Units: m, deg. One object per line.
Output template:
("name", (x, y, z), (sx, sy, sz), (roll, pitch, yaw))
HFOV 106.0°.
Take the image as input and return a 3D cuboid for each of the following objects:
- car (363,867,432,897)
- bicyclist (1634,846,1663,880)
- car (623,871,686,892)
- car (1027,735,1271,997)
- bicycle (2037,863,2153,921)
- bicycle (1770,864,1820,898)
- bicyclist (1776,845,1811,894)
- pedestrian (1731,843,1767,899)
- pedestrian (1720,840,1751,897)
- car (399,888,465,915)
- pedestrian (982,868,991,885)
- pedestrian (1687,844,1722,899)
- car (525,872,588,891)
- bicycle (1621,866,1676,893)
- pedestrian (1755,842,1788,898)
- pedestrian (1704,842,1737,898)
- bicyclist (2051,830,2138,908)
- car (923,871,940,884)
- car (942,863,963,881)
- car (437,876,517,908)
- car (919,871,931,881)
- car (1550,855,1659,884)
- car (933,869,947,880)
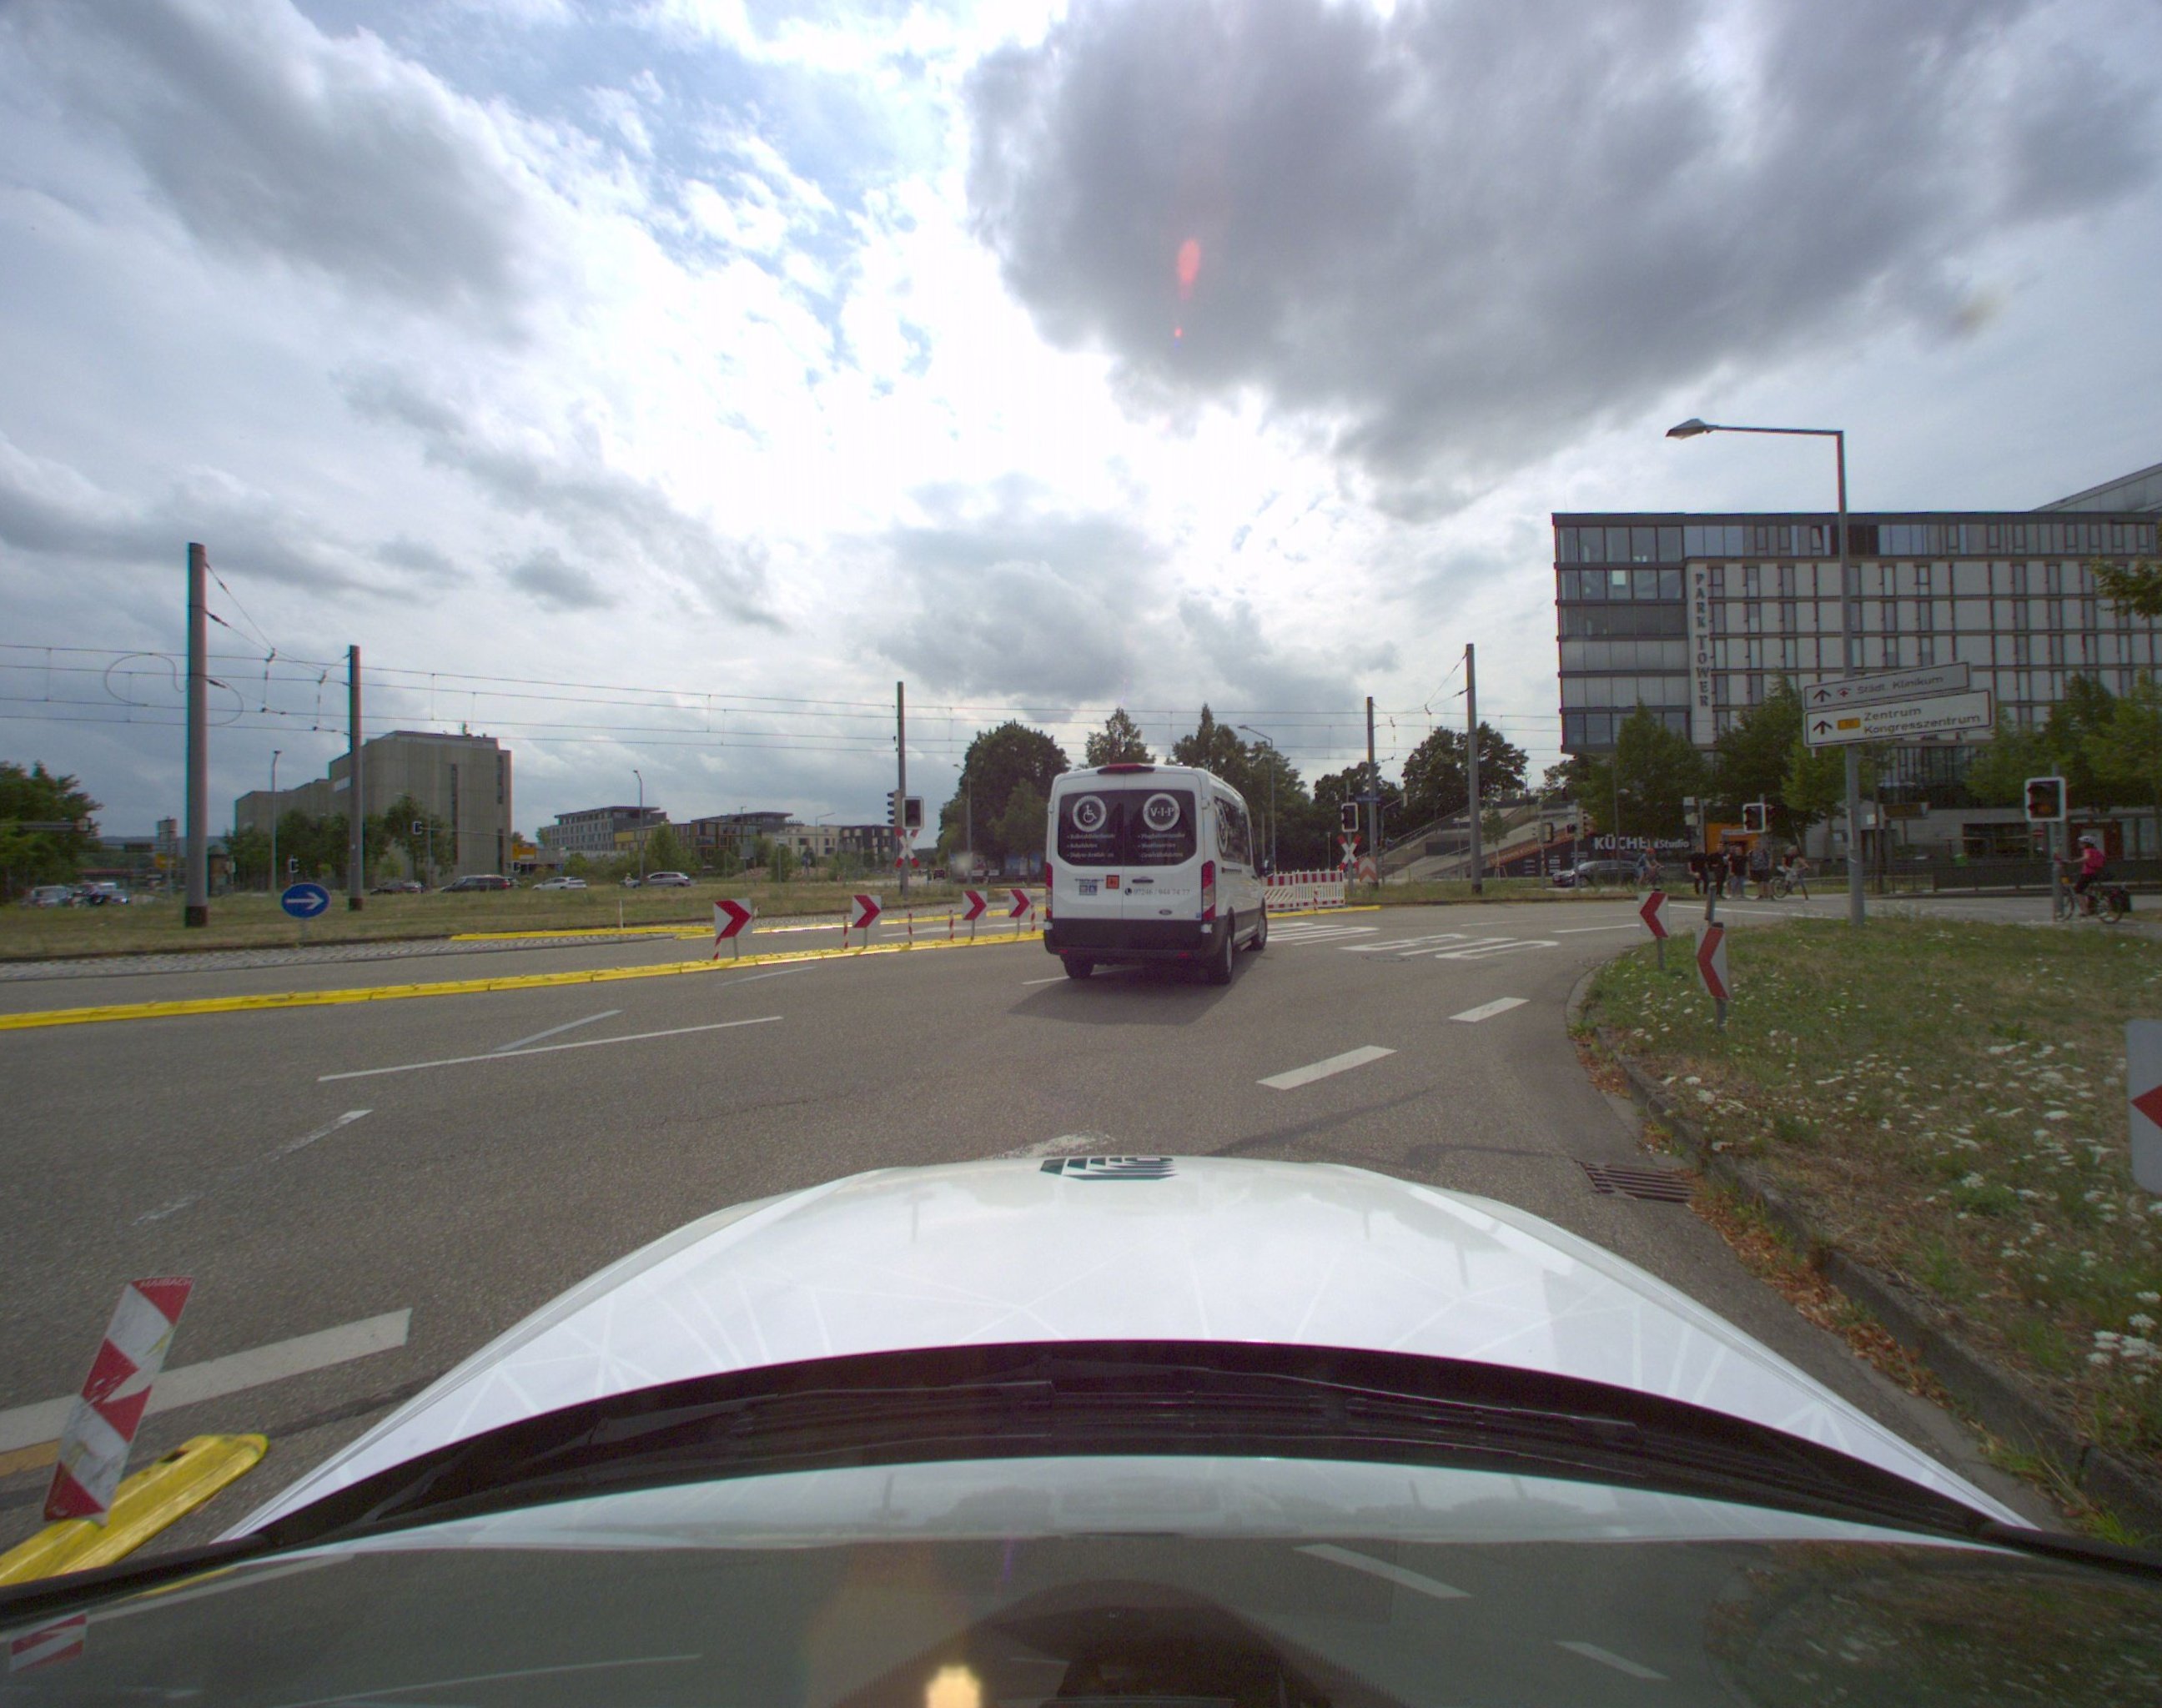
("car", (-48.049, 1.960, 57.254), (3.952, 2.014, 2.010), (-2, -2, 22))
("bicyclist", (22.525, 0.364, 32.331), (0.640, 1.317, 0.671), (-1, -1, -18))
("car", (-31.938, 2.063, 61.024), (4.016, 1.464, 1.813), (0, -2, -35))
("car", (1.302, 0.169, 11.369), (2.109, 2.698, 5.657), (-2, -1, 18))
("bicycle", (22.090, 0.805, 17.804), (0.781, 1.168, 2.053), (-2, -1, 27))
("bicycle", (23.394, 0.876, 26.706), (0.543, 1.058, 1.720), (-1, -1, 16))
("bicyclist", (23.418, 0.490, 26.770), (0.554, 1.580, 0.769), (-1, -1, 16))
("pedestrian", (21.367, 0.533, 26.052), (0.687, 1.781, 0.551), (-1, -1, -8))
("pedestrian", (21.574, 0.469, 26.852), (0.529, 1.862, 0.551), (-1, -1, -7))
("car", (-49.728, 3.626, 62.405), (4.309, 2.014, 2.010), (-2, -2, 22))
("pedestrian", (-8.874, 2.123, 76.532), (0.443, 1.594, 0.676), (-1, -1, 28))
("pedestrian", (20.244, 0.561, 26.449), (0.687, 1.781, 0.551), (-1, -1, -8))
("car", (-41.855, 2.200, 64.980), (3.963, 1.464, 1.838), (-1, -2, 9))
("bicycle", (22.525, 0.998, 32.339), (0.654, 1.007, 1.745), (-1, -1, -19))
("pedestrian", (22.045, 0.507, 26.007), (0.578, 1.781, 0.551), (-1, -1, -8))
("pedestrian", (20.935, 0.518, 26.655), (0.631, 1.781, 0.551), (-1, -1, -8))
("bicyclist", (22.046, 0.326, 17.740), (0.781, 1.627, 1.055), (-2, -1, 27))
("car", (-22.329, 3.495, 121.927), (1.989, 1.849, 3.995), (-1, -2, -3))
("car", (-14.946, 2.089, 94.439), (1.997, 2.014, 3.978), (0, -2, -15))
("car", (-40.738, 2.544, 55.063), (4.008, 2.014, 1.982), (0, -3, -27))
("car", (-30.684, 4.391, 159.990), (1.992, 1.849, 3.989), (0, -2, -7))
("car", (28.155, 0.835, 43.897), (4.708, 1.458, 1.848), (-1, 0, -1))
("car", (-23.831, 3.451, 137.986), (1.991, 1.849, 3.991), (0, -2, -6))
